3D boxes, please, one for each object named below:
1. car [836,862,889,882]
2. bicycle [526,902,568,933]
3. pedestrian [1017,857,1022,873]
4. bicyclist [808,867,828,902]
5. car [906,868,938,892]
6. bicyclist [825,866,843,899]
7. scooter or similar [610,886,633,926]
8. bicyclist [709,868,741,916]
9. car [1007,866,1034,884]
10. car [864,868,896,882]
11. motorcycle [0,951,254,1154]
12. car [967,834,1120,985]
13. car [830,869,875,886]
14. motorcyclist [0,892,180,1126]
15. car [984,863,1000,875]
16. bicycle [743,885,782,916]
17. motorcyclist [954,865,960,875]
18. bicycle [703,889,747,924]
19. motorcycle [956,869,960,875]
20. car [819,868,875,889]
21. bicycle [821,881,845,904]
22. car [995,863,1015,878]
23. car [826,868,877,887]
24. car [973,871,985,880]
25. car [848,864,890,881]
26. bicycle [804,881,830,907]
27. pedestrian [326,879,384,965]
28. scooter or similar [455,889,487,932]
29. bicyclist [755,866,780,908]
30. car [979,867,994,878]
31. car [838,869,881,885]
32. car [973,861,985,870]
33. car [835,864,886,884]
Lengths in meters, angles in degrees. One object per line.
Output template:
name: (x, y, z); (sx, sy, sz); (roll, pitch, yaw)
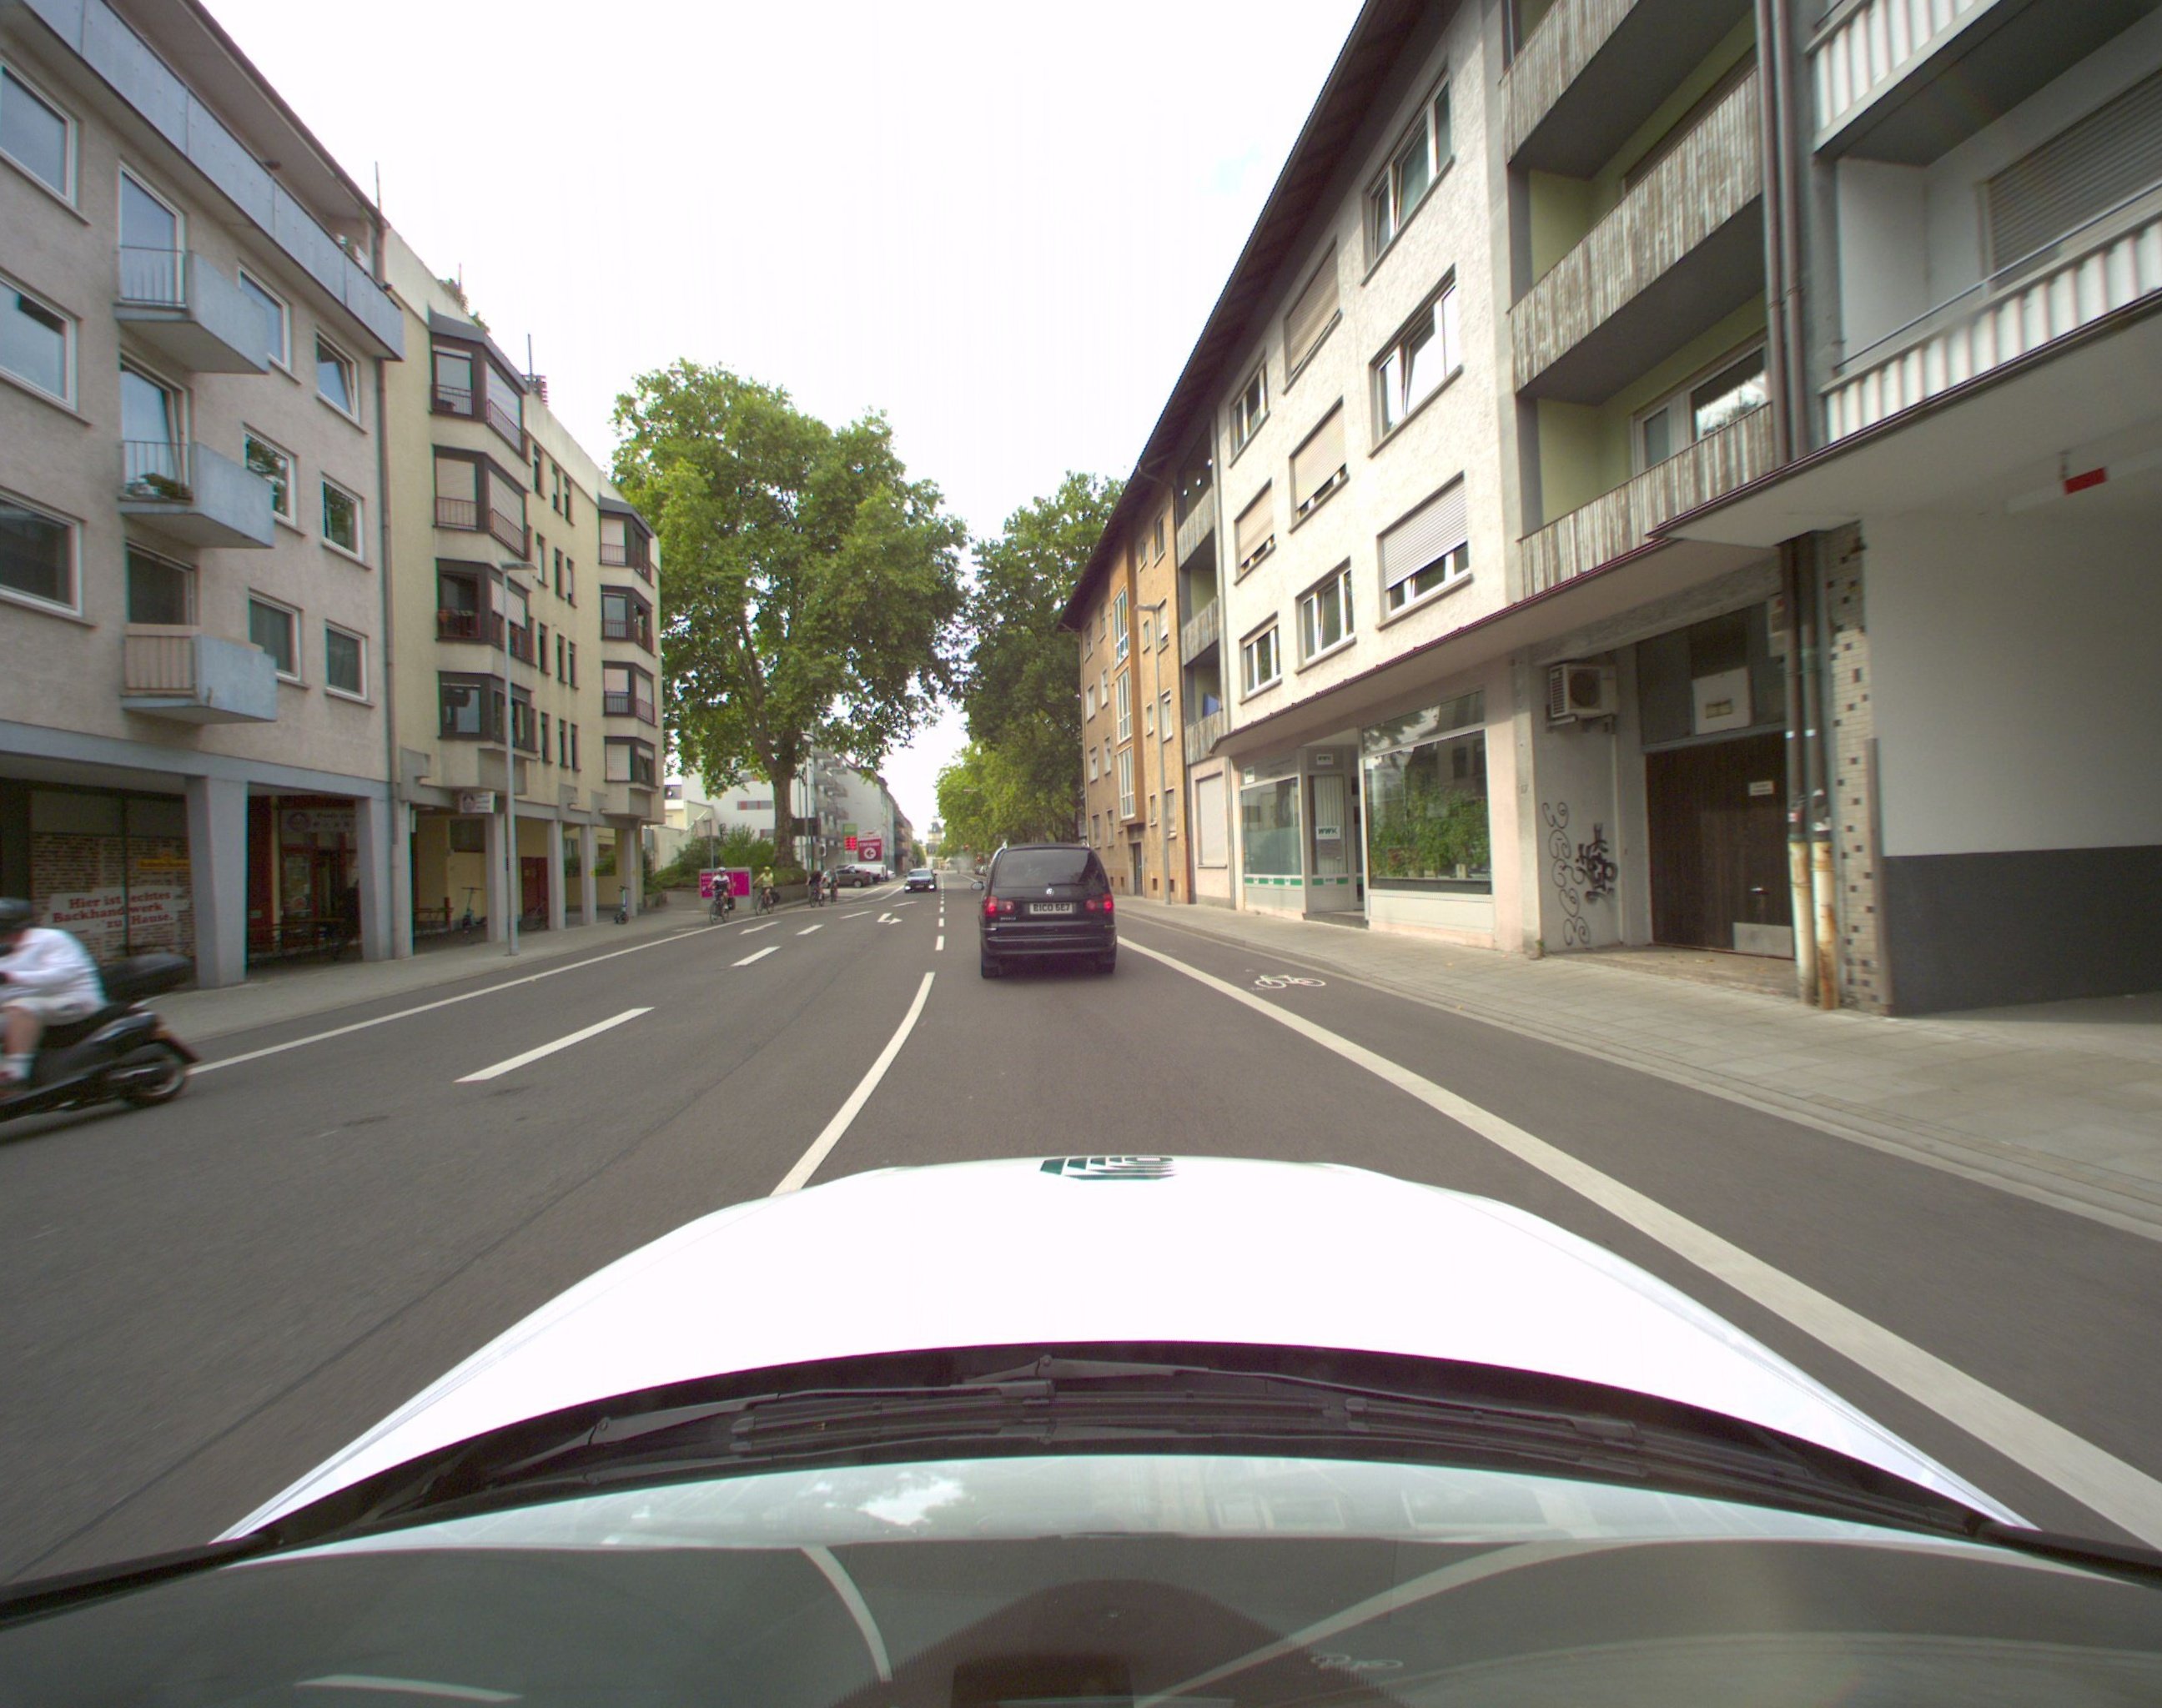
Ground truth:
car: (-21.748, 1.776, 81.119); (4.917, 1.903, 1.993); (0, -1, -11)
bicycle: (-16.231, 1.916, 24.798); (0.429, 0.821, 1.613); (-2, -1, -9)
pedestrian: (-7.623, 1.375, 100.811); (0.642, 1.975, 0.690); (0, 0, -9)
bicyclist: (-11.643, 1.330, 36.040); (0.656, 1.525, 0.855); (0, 0, -6)
car: (-9.944, 1.601, 51.198); (1.810, 1.408, 4.592); (-2, -1, -10)
bicyclist: (-12.176, 1.394, 40.173); (0.656, 1.525, 1.074); (0, 0, -6)
scooter or similar: (-15.097, 1.692, 26.760); (1.162, 1.265, 0.289); (-3, -1, 43)
bicyclist: (-11.616, 1.221, 26.587); (0.656, 1.525, 1.000); (0, 0, -6)
car: (-4.910, 1.702, 66.127); (1.676, 1.394, 4.444); (-2, -1, -11)
car: (-22.270, 2.317, 90.183); (3.345, 1.497, 1.589); (0, -1, -12)
motorcycle: (-7.166, 1.363, 5.682); (0.720, 1.095, 2.034); (-4, -1, -3)
car: (-0.638, 0.656, 11.661); (1.810, 1.766, 3.730); (-1, 0, -6)
car: (-20.239, 2.093, 72.296); (3.683, 1.427, 1.747); (0, -1, -11)
motorcyclist: (-7.185, 1.036, 5.663); (0.794, 1.460, 0.864); (-4, -1, -3)
car: (-10.923, 1.834, 99.809); (1.676, 1.394, 4.444); (-2, -1, -11)
bicycle: (-11.855, 1.712, 30.383); (0.736, 1.007, 2.248); (0, 1, -5)
motorcyclist: (-21.722, 2.746, 142.792); (0.953, 1.660, 1.251); (-2, -1, -11)
bicycle: (-11.611, 1.697, 26.640); (0.736, 1.007, 1.905); (0, 1, -5)
motorcycle: (-21.484, 3.191, 142.602); (0.625, 0.930, 2.395); (-2, -1, -10)
car: (-19.322, 2.030, 67.488); (4.256, 1.605, 1.962); (-1, 0, -10)
bicycle: (-12.143, 1.872, 39.913); (0.737, 1.007, 2.190); (0, 1, -7)
car: (-7.639, 1.661, 81.495); (1.630, 1.470, 4.301); (-2, -1, -11)
car: (-19.634, 1.985, 69.819); (3.938, 1.570, 1.748); (0, -1, -8)
car: (-16.316, 3.424, 130.065); (1.676, 1.394, 3.864); (-2, -1, -11)
car: (-22.810, 1.971, 87.804); (4.309, 1.870, 1.817); (0, -1, -12)
bicycle: (-11.602, 1.758, 35.849); (0.737, 1.007, 1.971); (0, 1, -7)
pedestrian: (-15.472, 1.424, 17.378); (0.581, 1.757, 0.781); (0, -1, -10)
scooter or similar: (-18.504, 1.702, 24.730); (0.286, 1.201, 1.171); (-2, 1, -13)
bicyclist: (-11.794, 1.241, 30.669); (0.656, 1.525, 0.839); (0, 0, -6)
car: (-13.401, 2.631, 115.043); (1.644, 1.413, 3.400); (-2, -1, -14)
car: (-20.652, 2.160, 76.083); (3.683, 1.445, 1.747); (0, -1, -11)
car: (-16.950, 1.943, 135.162); (1.676, 1.394, 3.864); (-2, -1, -11)
car: (-21.207, 1.894, 78.631); (4.525, 1.878, 2.040); (0, -1, -9)
